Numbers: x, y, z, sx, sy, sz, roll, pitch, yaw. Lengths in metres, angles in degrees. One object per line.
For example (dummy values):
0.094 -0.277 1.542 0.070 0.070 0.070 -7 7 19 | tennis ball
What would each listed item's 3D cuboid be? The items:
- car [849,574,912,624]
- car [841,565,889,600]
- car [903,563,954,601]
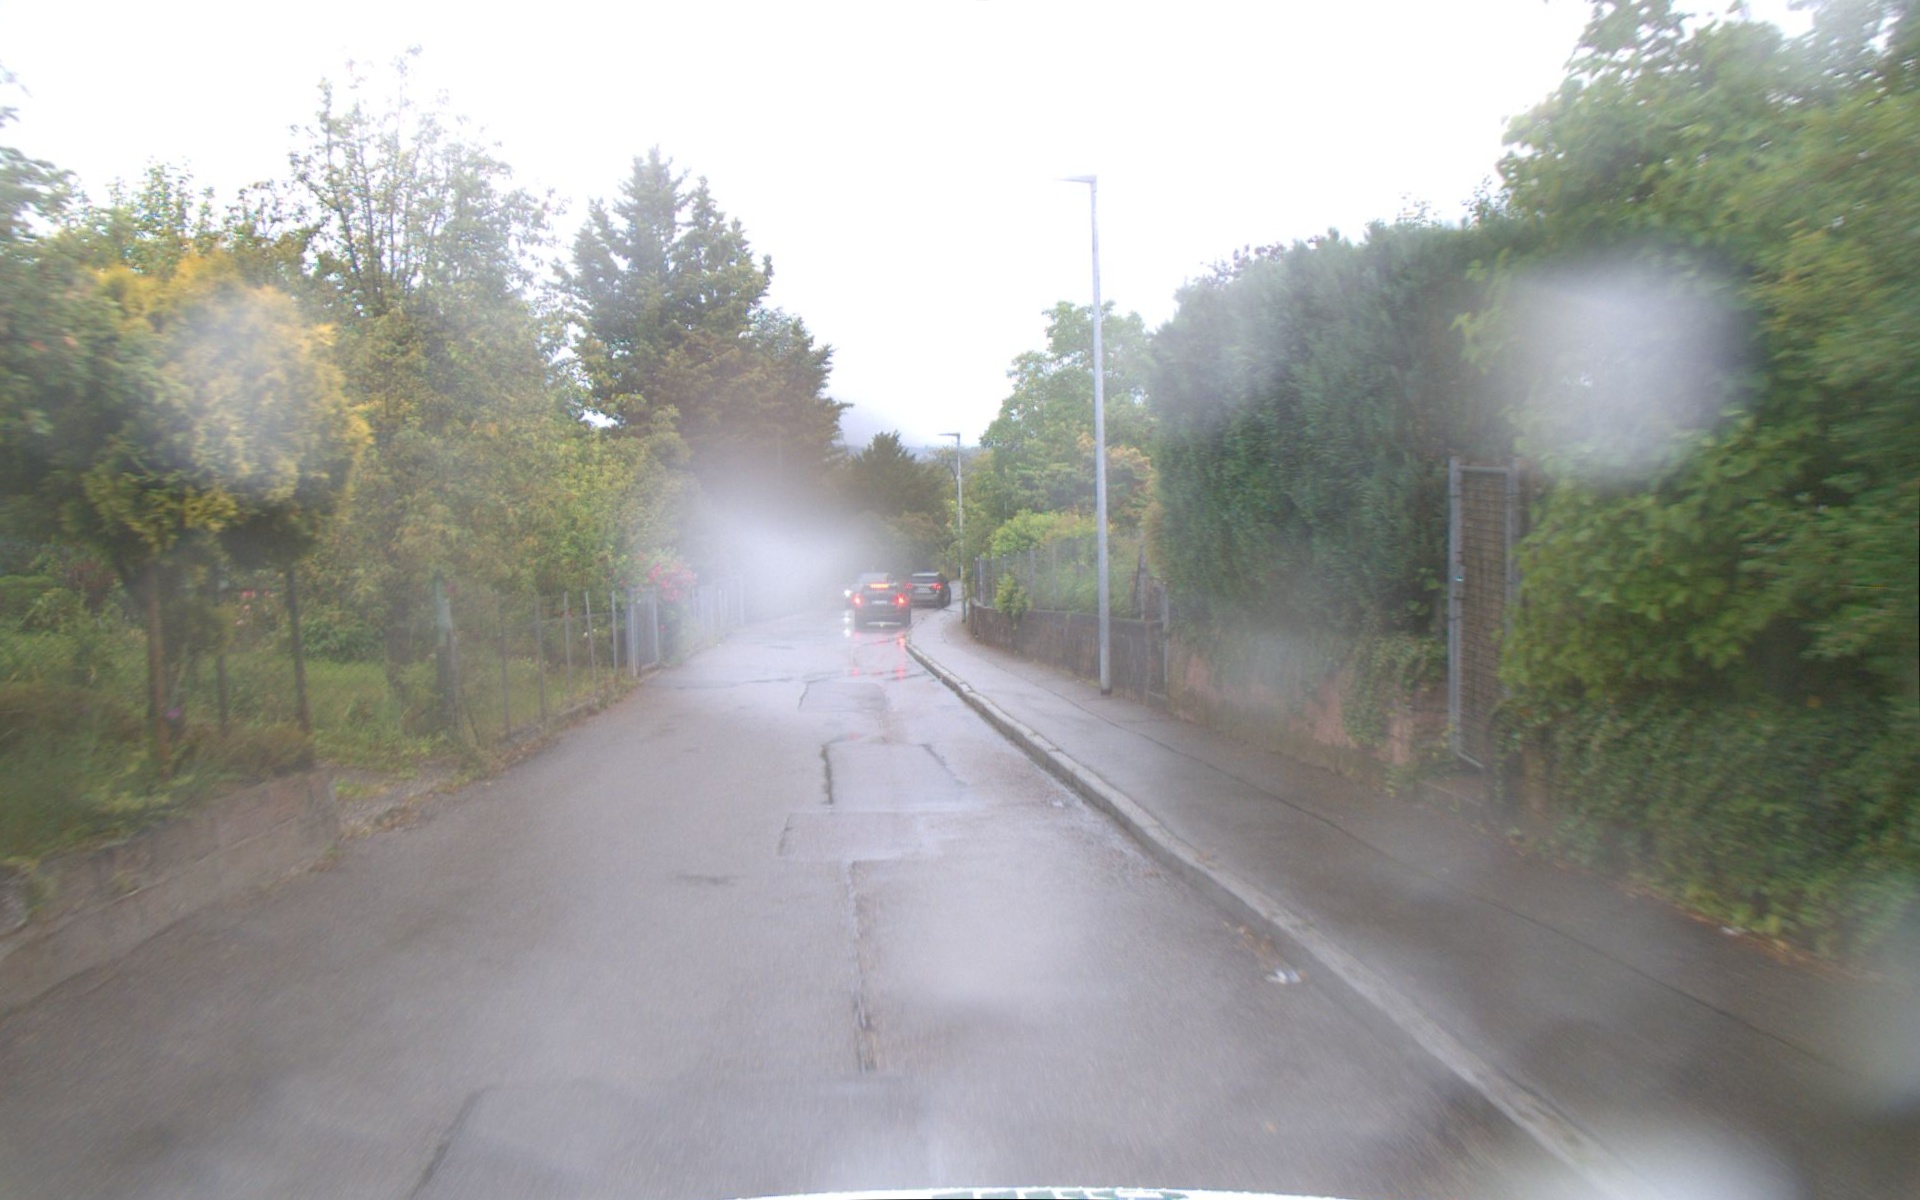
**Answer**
-2.596 -0.049 54.787 1.797 1.489 4.000 3 0 0 | car
-4.289 -0.817 75.150 1.743 1.520 3.833 0 1 4 | car
-1.419 -0.853 75.464 1.642 1.592 3.798 2 3 9 | car
